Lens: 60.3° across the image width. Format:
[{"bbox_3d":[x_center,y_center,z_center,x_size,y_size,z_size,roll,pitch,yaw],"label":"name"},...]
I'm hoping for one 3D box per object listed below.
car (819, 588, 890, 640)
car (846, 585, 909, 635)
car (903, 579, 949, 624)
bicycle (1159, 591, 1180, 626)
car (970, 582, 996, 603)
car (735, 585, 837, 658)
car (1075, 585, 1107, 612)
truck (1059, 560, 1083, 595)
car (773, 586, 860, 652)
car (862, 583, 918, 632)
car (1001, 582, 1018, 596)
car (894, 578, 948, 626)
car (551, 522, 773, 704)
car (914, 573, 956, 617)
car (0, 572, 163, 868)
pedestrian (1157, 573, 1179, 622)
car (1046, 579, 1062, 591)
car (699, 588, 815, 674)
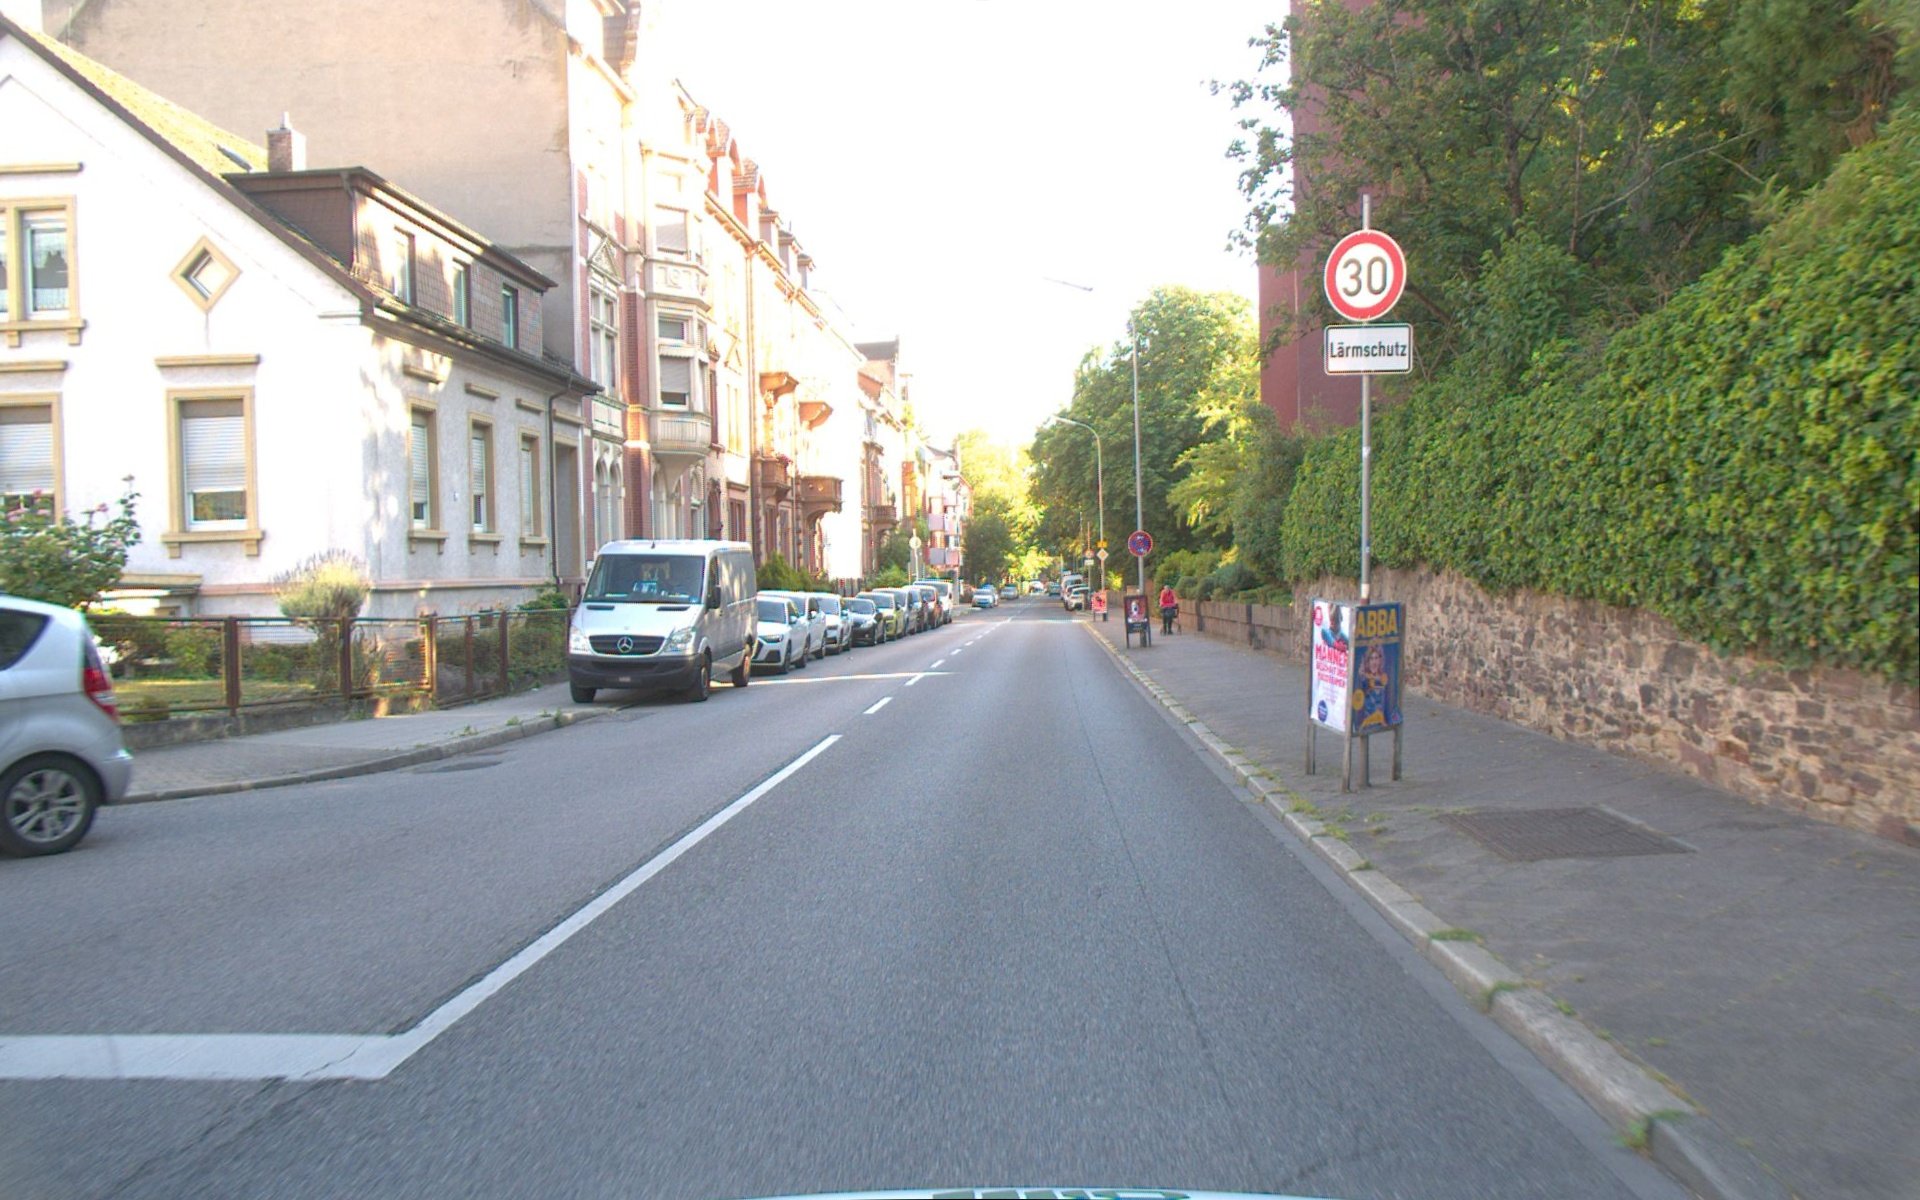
[{"bbox_3d":[-3.024,0.378,47.941,1.667,1.390,3.861,-1,1,2],"label":"car"},{"bbox_3d":[-2.617,0.329,53.007,1.667,1.529,4.073,-1,0,2],"label":"car"},{"bbox_3d":[-1.366,0.029,68.099,1.667,1.768,3.858,-1,1,2],"label":"car"},{"bbox_3d":[6.146,0.245,48.448,0.554,0.987,0.492,-1,1,2],"label":"bicycle"},{"bbox_3d":[1.996,-0.664,139.804,1.952,1.517,4.473,-2,2,3],"label":"car"},{"bbox_3d":[-3.943,0.456,38.021,1.667,1.529,4.023,-1,1,3],"label":"car"},{"bbox_3d":[8.501,-0.109,107.066,1.951,1.543,4.003,-2,2,5],"label":"car"},{"bbox_3d":[9.959,-2.058,148.330,1.952,2.947,4.473,-2,2,3],"label":"truck"},{"bbox_3d":[-3.646,0.442,42.728,1.667,1.563,4.551,-1,1,2],"label":"car"},{"bbox_3d":[-2.437,0.243,58.015,1.667,1.611,3.636,-1,1,2],"label":"car"},{"bbox_3d":[6.182,-1.397,206.640,1.952,1.517,4.473,-2,2,3],"label":"car"},{"bbox_3d":[-1.457,0.058,63.085,1.667,1.737,4.443,-1,1,4],"label":"car"},{"bbox_3d":[-4.473,0.137,25.902,2.024,2.503,6.017,-1,1,3],"label":"car"},{"bbox_3d":[-1.152,-0.270,78.822,1.755,2.045,4.699,-1,1,2],"label":"car"},{"bbox_3d":[-6.976,0.727,9.106,1.921,1.677,4.267,1,2,36],"label":"car"},{"bbox_3d":[6.174,-0.084,49.079,0.585,1.427,0.668,-1,1,1],"label":"pedestrian"},{"bbox_3d":[13.148,-2.110,232.417,1.953,1.517,4.471,-3,2,0],"label":"car"},{"bbox_3d":[-3.927,0.565,32.593,1.667,1.529,3.824,-1,1,2],"label":"car"}]
